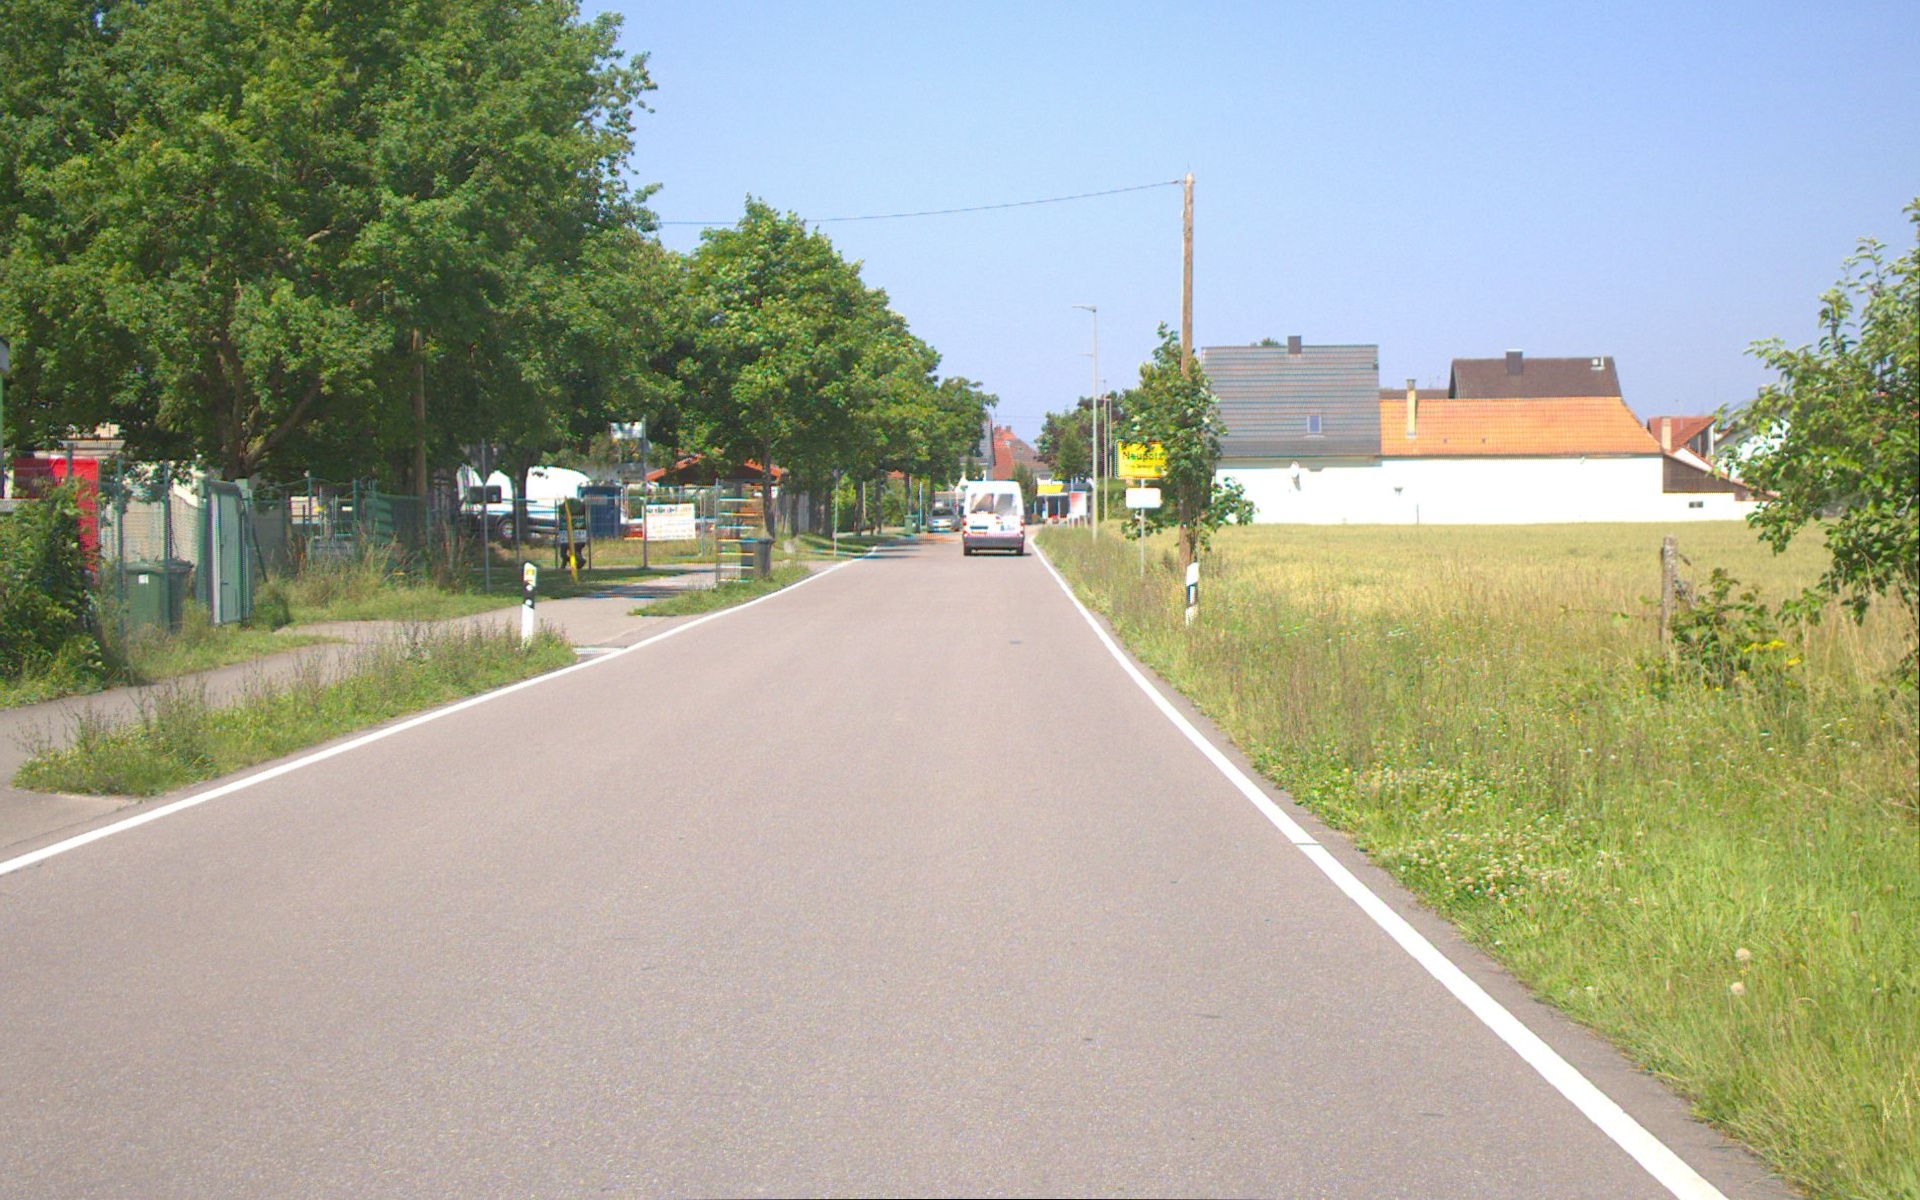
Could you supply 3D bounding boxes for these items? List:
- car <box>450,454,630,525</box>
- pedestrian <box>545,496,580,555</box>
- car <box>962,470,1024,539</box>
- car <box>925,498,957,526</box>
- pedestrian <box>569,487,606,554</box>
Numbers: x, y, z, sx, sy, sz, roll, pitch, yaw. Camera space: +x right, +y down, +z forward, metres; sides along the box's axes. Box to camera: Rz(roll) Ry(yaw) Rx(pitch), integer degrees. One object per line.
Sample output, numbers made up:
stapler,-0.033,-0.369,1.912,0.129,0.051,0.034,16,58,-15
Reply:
car,-13.708,-3.631,112.449,5.596,2.258,2.000,-2,2,-38
pedestrian,-10.636,-2.002,92.027,0.677,1.560,0.718,0,2,20
car,1.111,-3.184,114.564,1.993,2.258,4.726,-1,2,1
car,-1.071,-5.048,197.297,1.771,1.585,4.000,-1,2,1
pedestrian,-10.047,-2.141,92.704,0.720,1.796,0.709,0,2,21
